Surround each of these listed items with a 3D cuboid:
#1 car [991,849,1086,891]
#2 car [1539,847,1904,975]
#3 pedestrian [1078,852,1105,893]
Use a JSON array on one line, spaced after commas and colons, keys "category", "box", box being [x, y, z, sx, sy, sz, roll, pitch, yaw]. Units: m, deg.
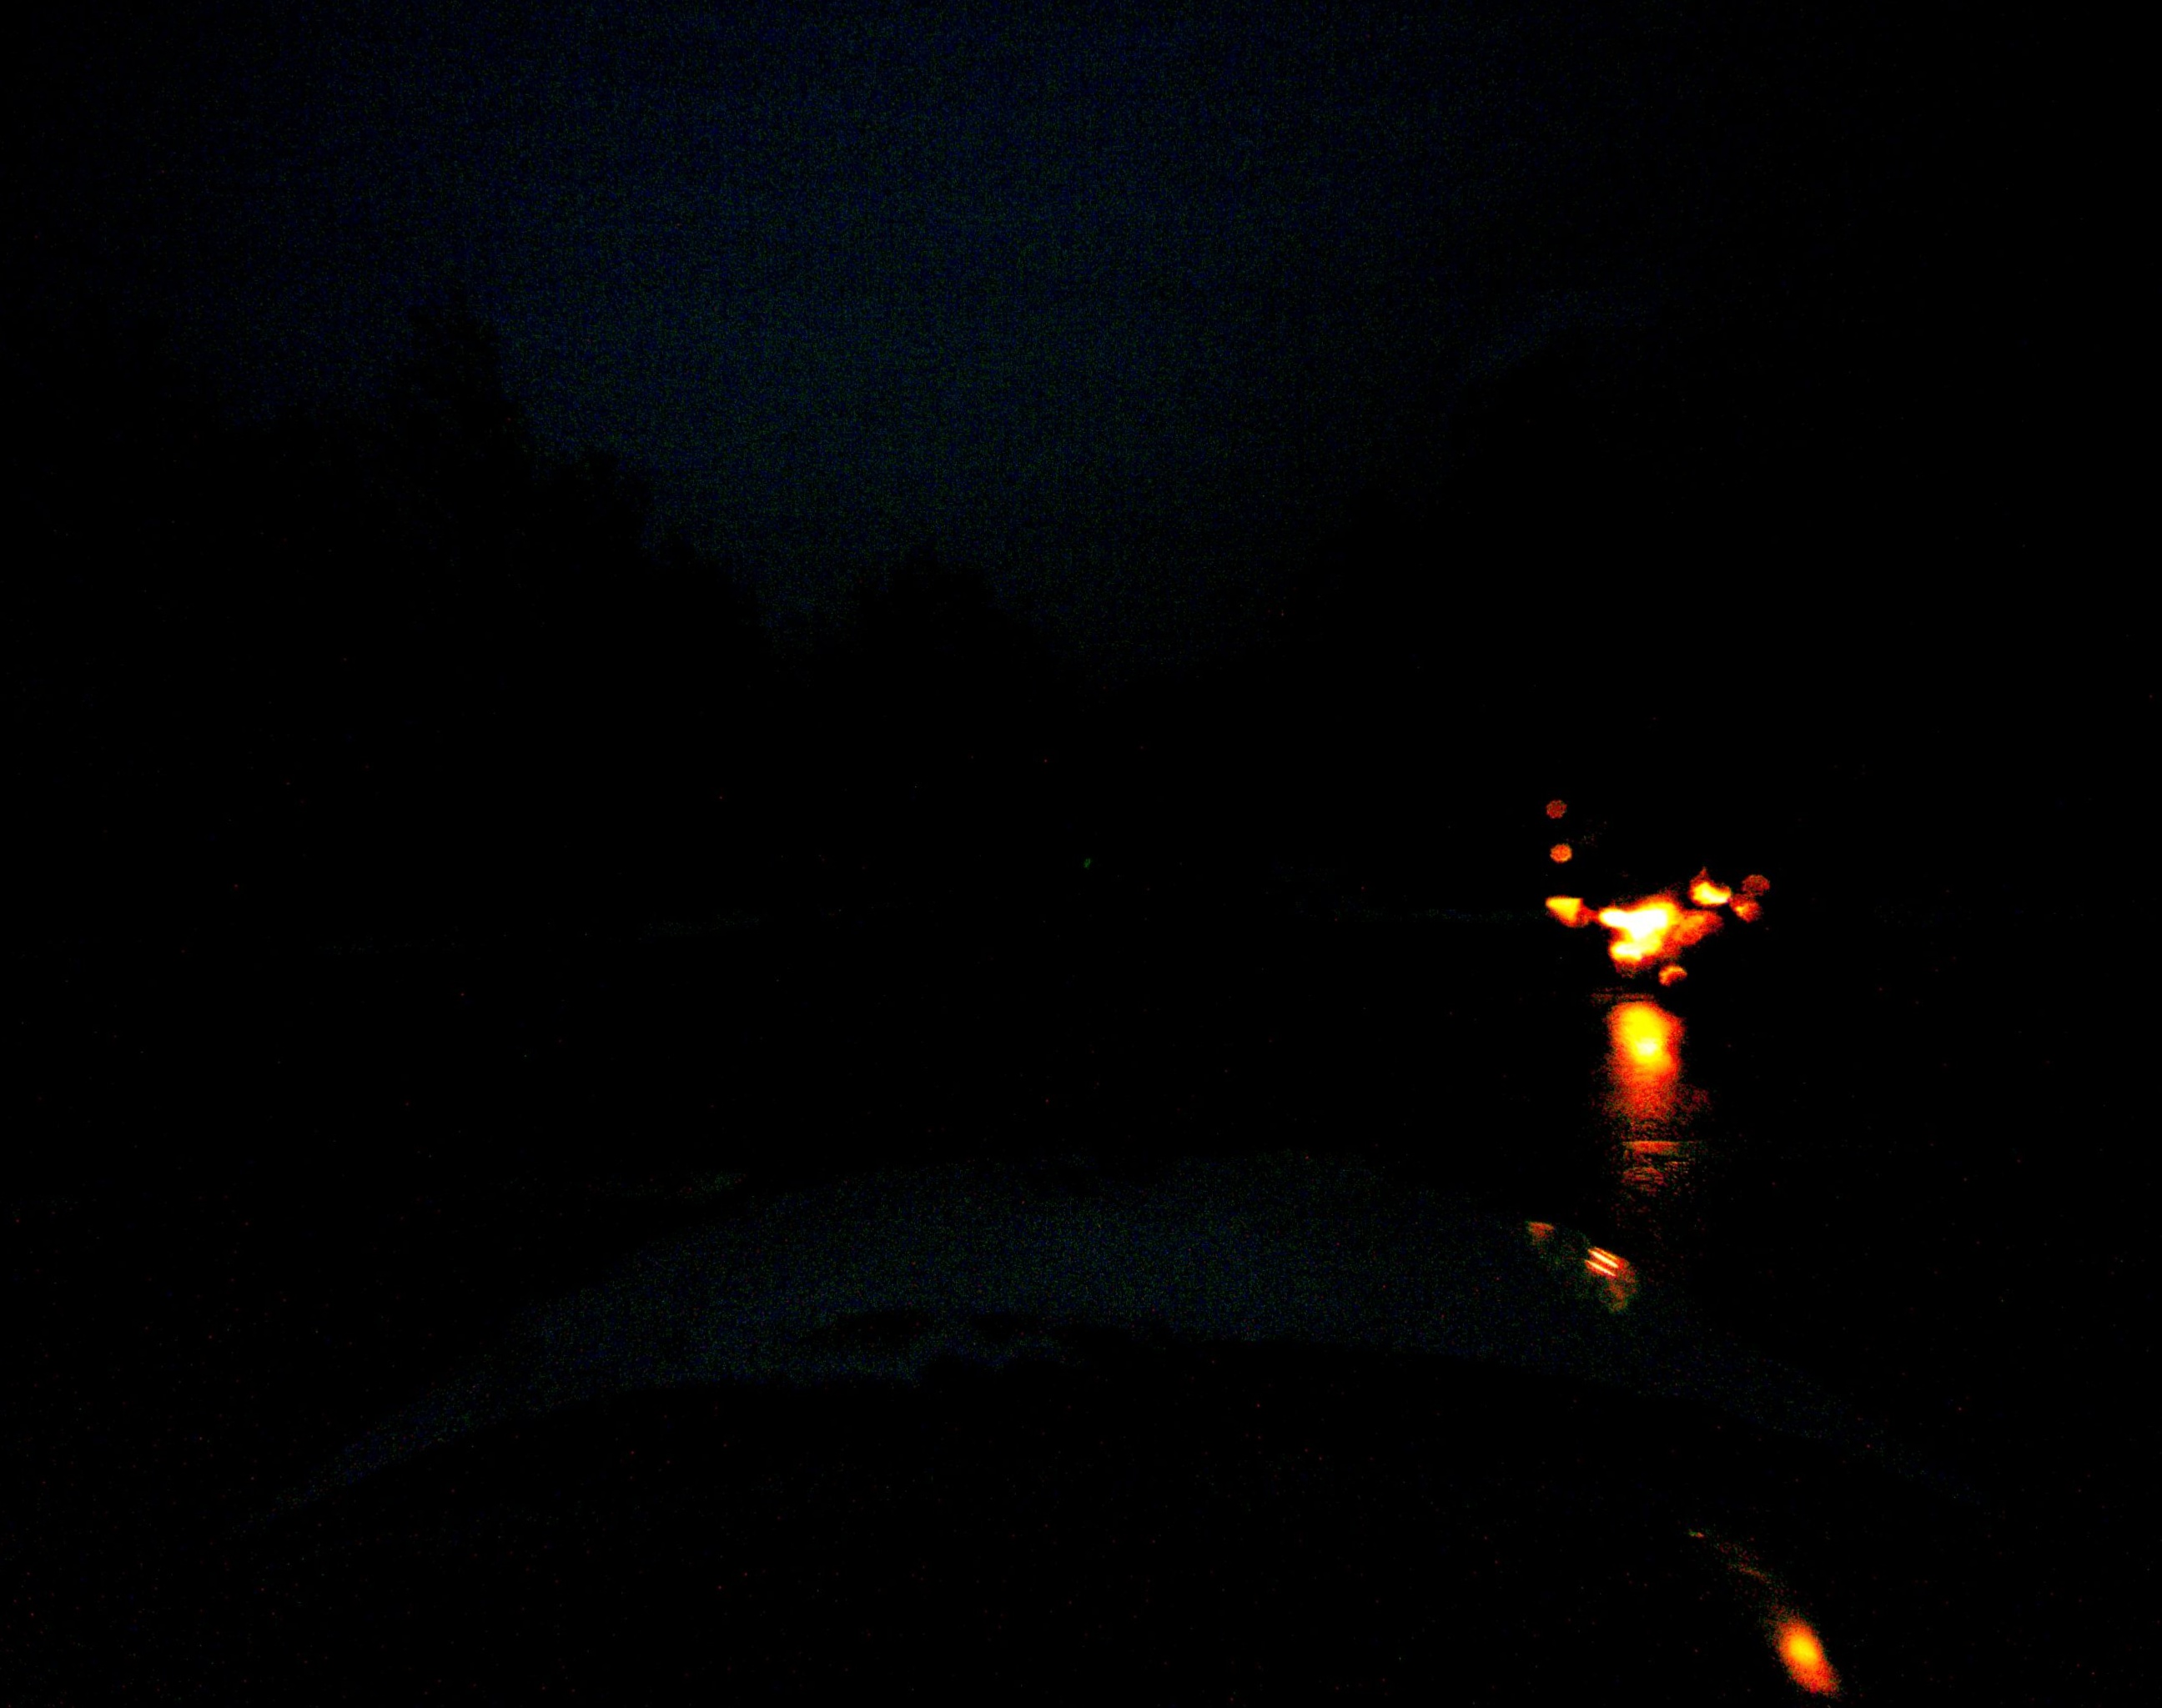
[{"category": "car", "box": [-1.965, 0.755, 37.854, 3.915, 1.881, 2.009, 0, -2, 18]}, {"category": "car", "box": [7.907, 0.669, 10.268, 3.392, 1.452, 1.576, -1, -1, -1]}, {"category": "pedestrian", "box": [0.470, 0.844, 36.630, 0.952, 1.828, 0.930, -1, -2, 23]}]
